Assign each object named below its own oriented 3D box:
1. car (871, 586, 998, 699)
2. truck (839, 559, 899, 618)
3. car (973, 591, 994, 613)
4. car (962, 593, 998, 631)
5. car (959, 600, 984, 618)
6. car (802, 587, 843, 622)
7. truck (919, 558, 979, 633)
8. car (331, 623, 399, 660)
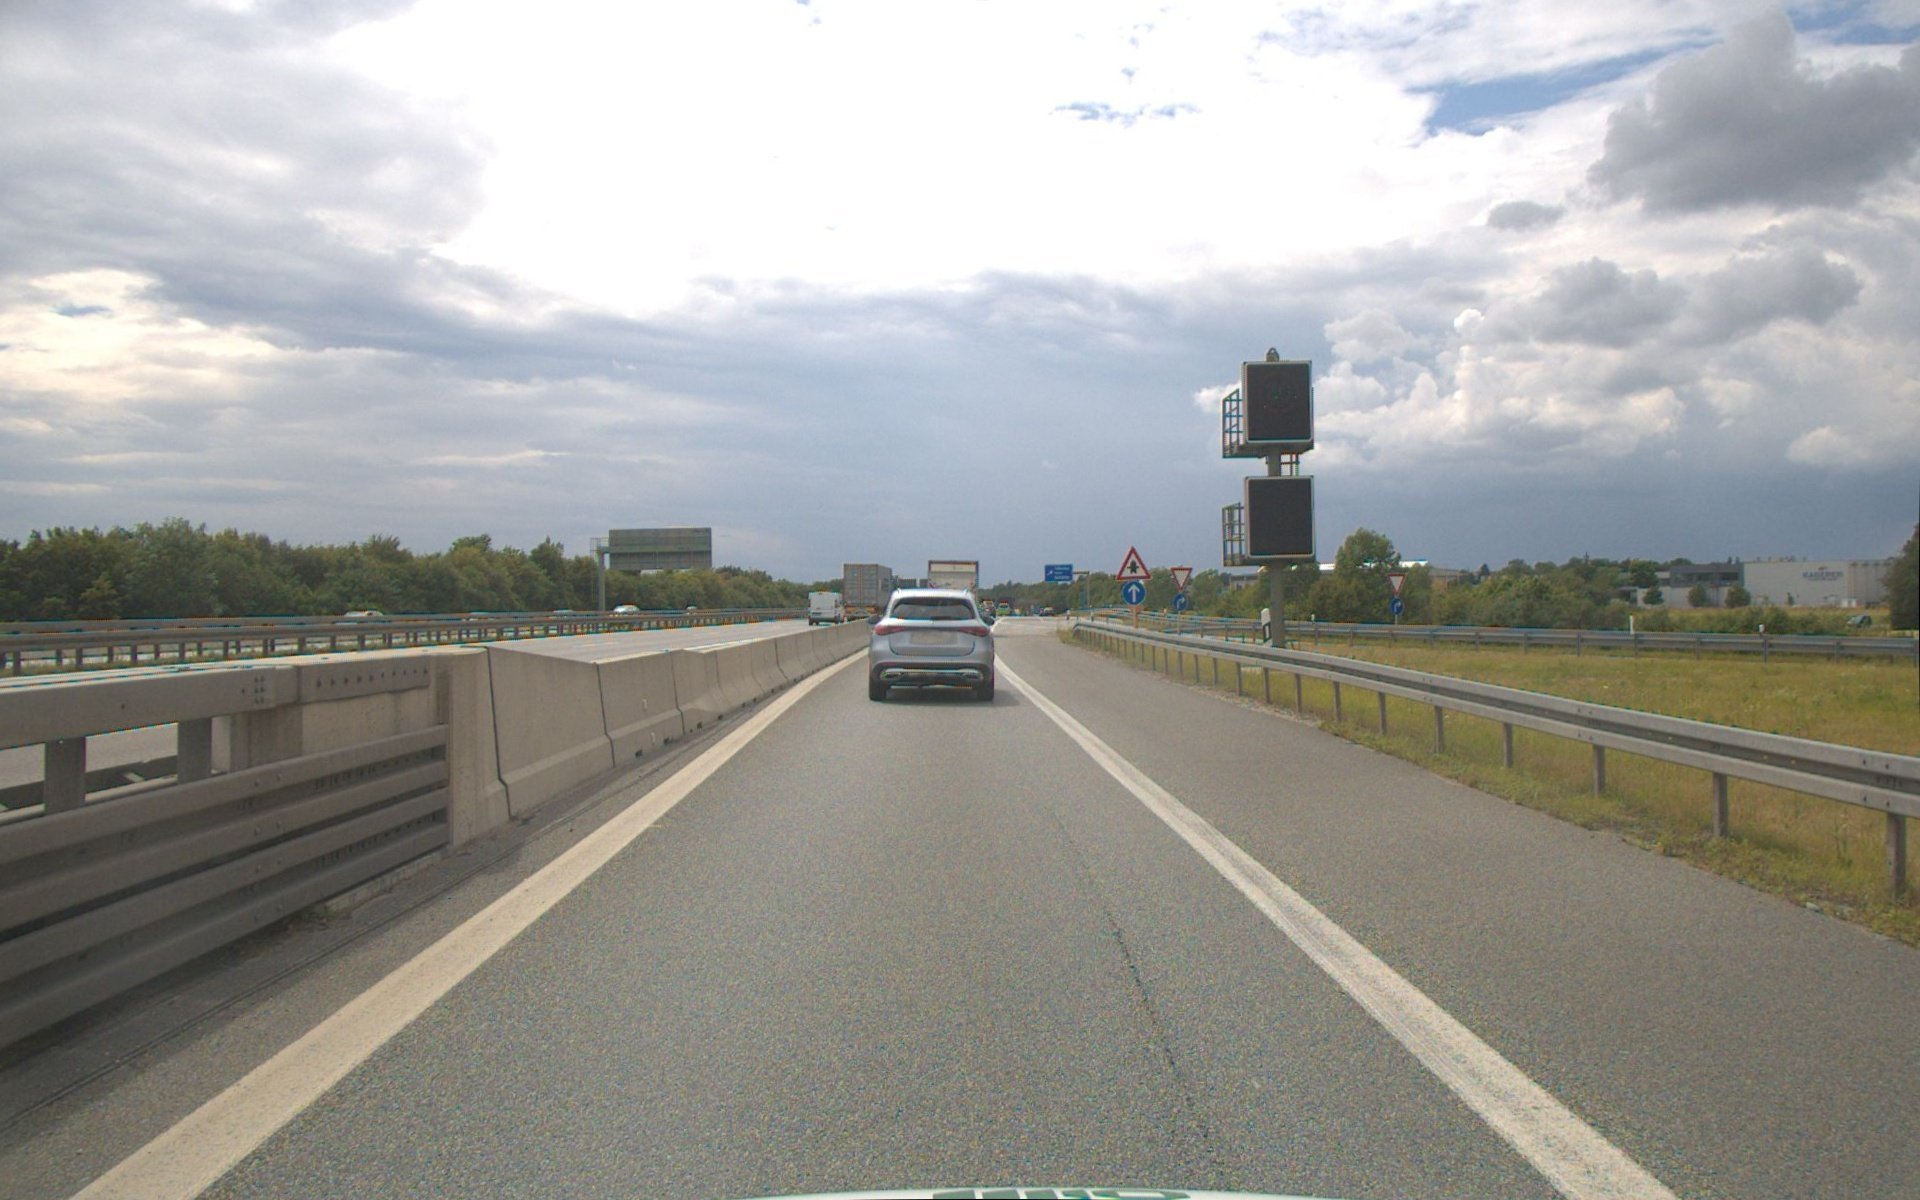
[{"bbox_3d":[-0.345,0.581,25.383,1.782,1.541,4.001,1,1,0],"label":"car"},{"bbox_3d":[-6.650,-0.956,123.361,3.117,4.089,16.079,1,1,1],"label":"truck"},{"bbox_3d":[2.293,0.152,160.488,1.952,2.048,4.376,1,1,3],"label":"car"},{"bbox_3d":[1.163,0.650,94.762,1.952,2.048,4.002,1,1,2],"label":"car"},{"bbox_3d":[0.838,0.674,122.311,1.661,1.310,4.002,0,0,3],"label":"car"},{"bbox_3d":[-8.409,0.251,101.348,1.952,2.048,4.376,1,1,3],"label":"car"},{"bbox_3d":[-0.422,-0.182,74.672,2.516,3.180,8.634,1,0,1],"label":"truck"},{"bbox_3d":[-30.272,2.088,84.249,1.791,1.736,4.002,1,0,3],"label":"car"}]
